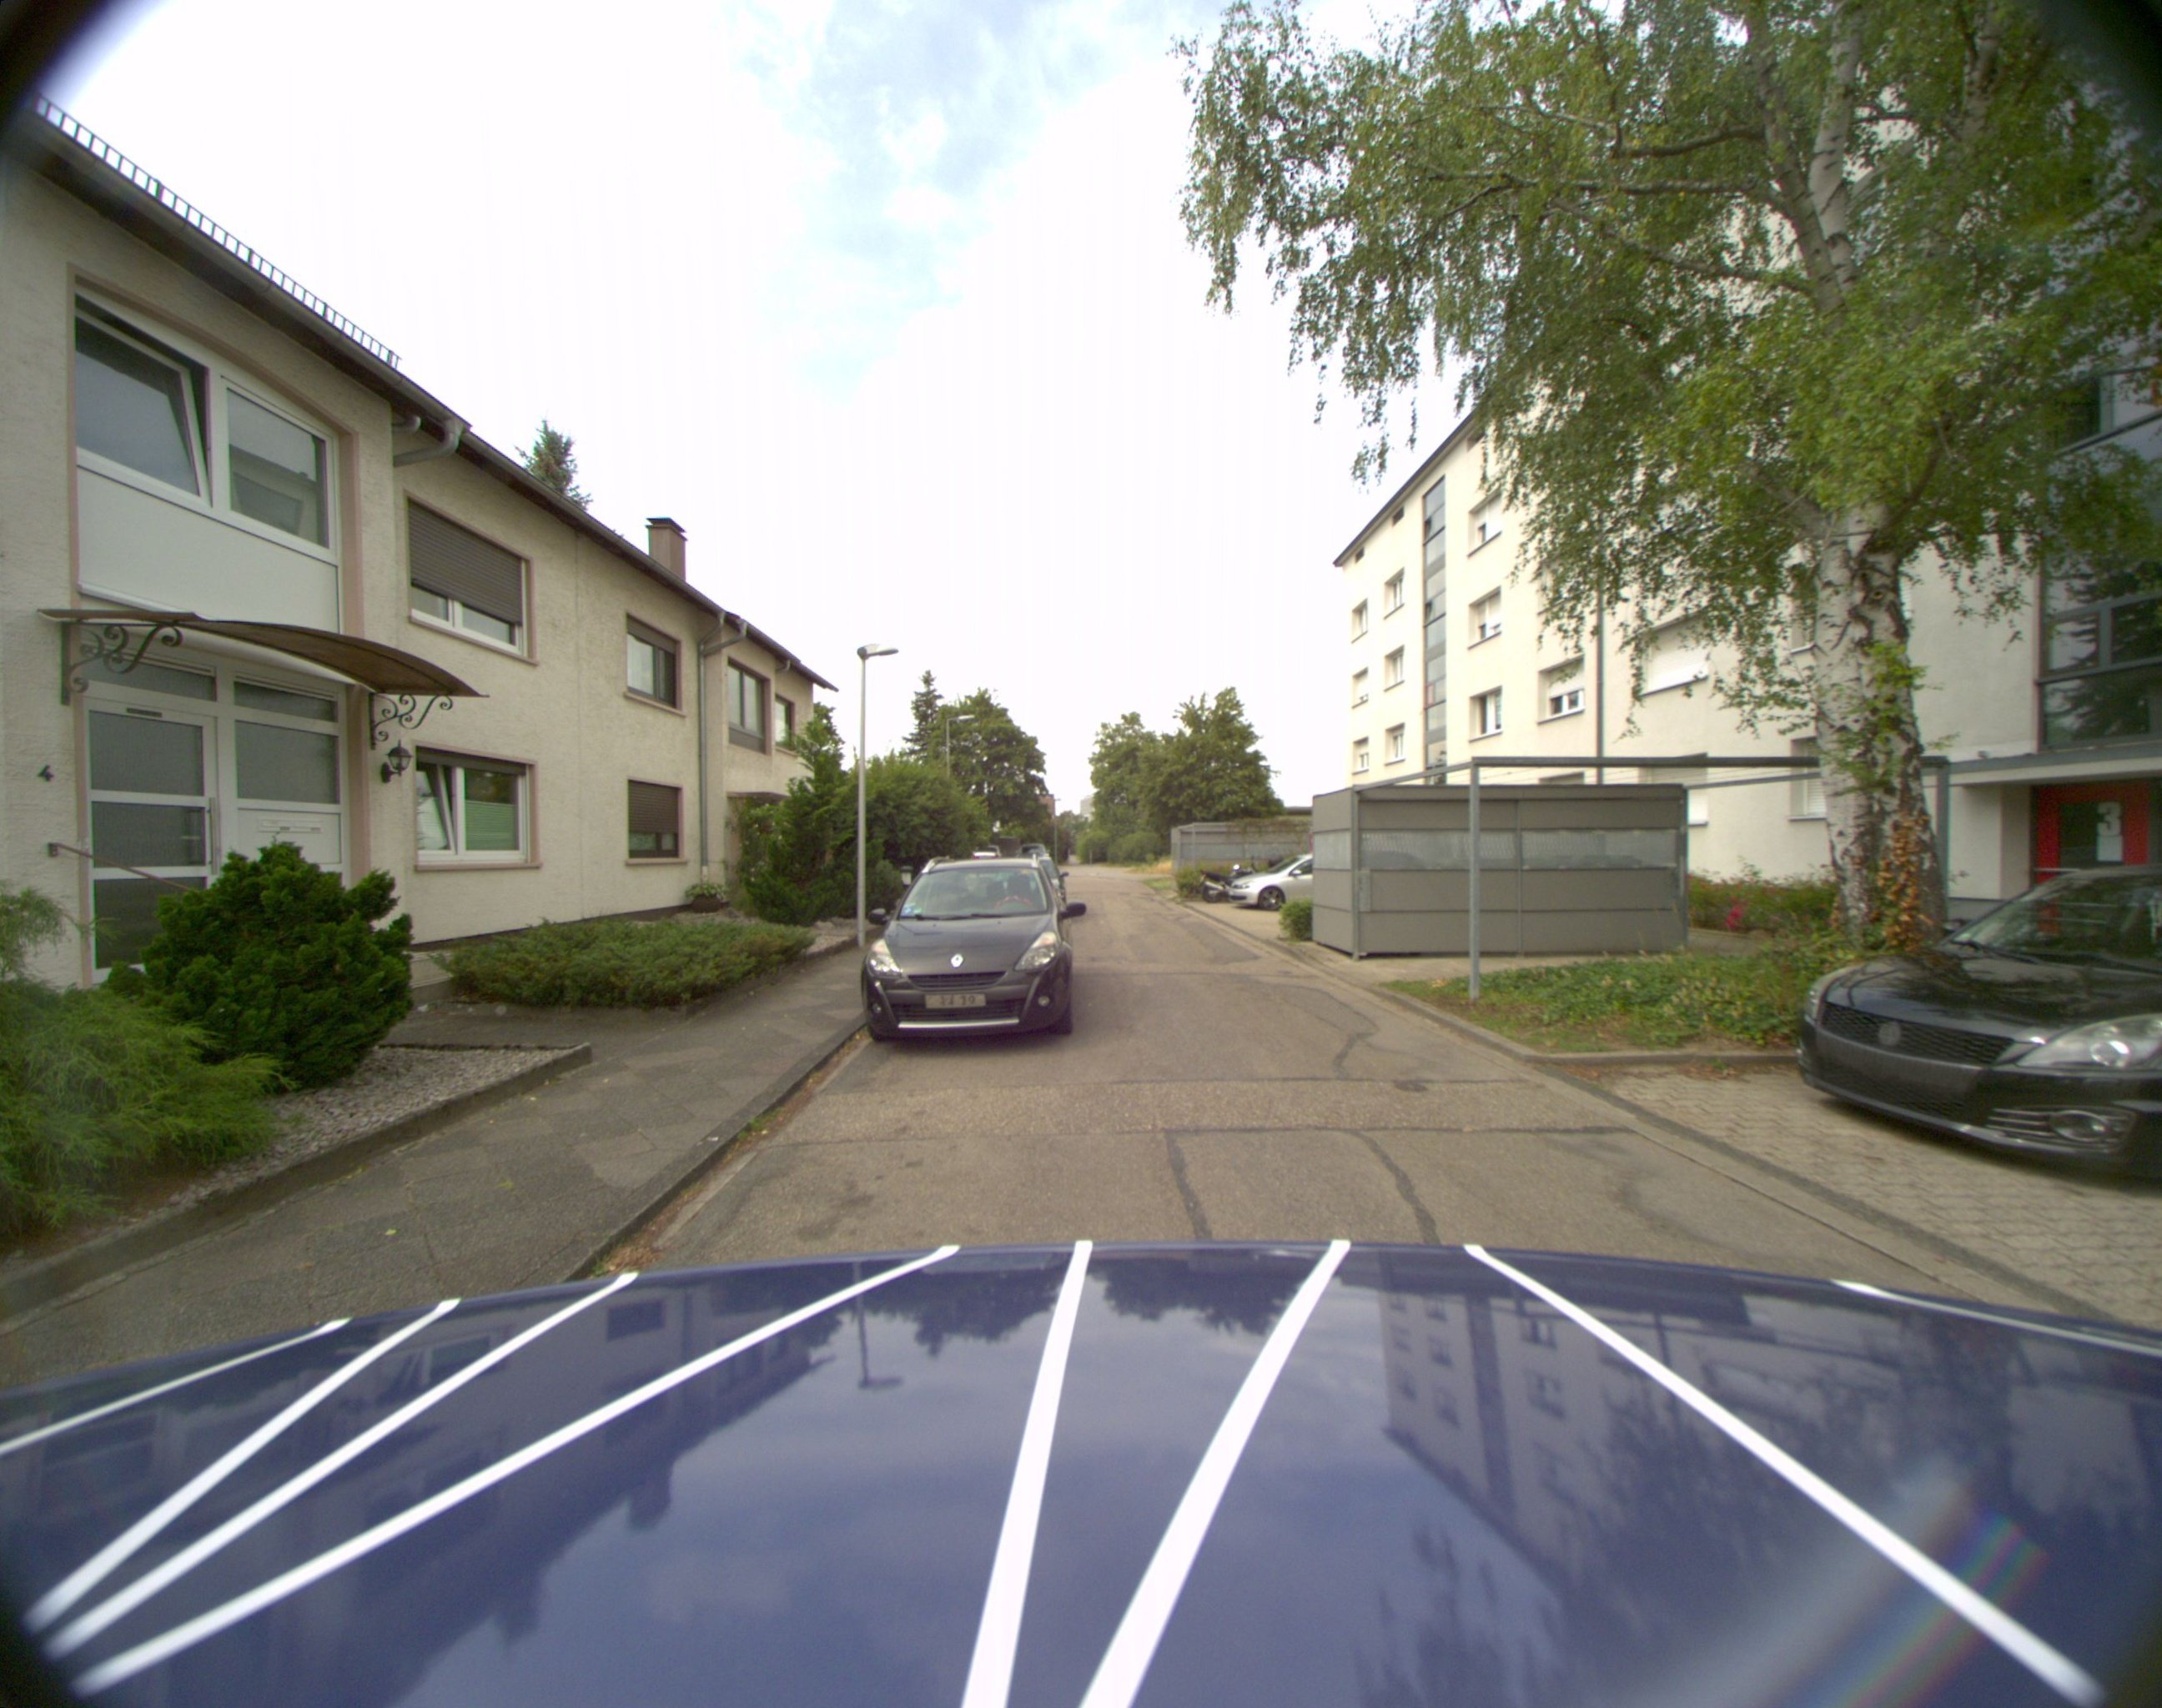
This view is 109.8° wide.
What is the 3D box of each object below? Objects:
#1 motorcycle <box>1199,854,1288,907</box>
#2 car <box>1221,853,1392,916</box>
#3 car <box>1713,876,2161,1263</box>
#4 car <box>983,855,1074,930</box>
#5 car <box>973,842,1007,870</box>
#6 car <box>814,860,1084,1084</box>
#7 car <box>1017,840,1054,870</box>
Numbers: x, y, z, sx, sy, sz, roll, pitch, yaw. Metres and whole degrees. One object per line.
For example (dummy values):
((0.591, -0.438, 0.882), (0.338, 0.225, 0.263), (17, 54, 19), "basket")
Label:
((4.677, 0.759, 22.019), (2.383, 1.456, 0.714), (1, 1, -1), "motorcycle")
((5.925, 0.788, 20.366), (3.997, 1.477, 1.902), (1, 1, 1), "car")
((6.089, 0.910, 3.996), (4.062, 1.496, 1.781), (0, 1, -1), "car")
((-1.176, 0.790, 17.689), (1.834, 1.449, 4.188), (-2, 1, -3), "car")
((-5.178, 0.092, 43.754), (1.705, 1.458, 3.997), (0, 2, -3), "car")
((-1.019, 0.836, 7.413), (1.834, 1.449, 4.188), (-2, 1, -3), "car")
((-2.586, 0.035, 43.177), (1.926, 1.576, 3.998), (-2, 1, -3), "car")
